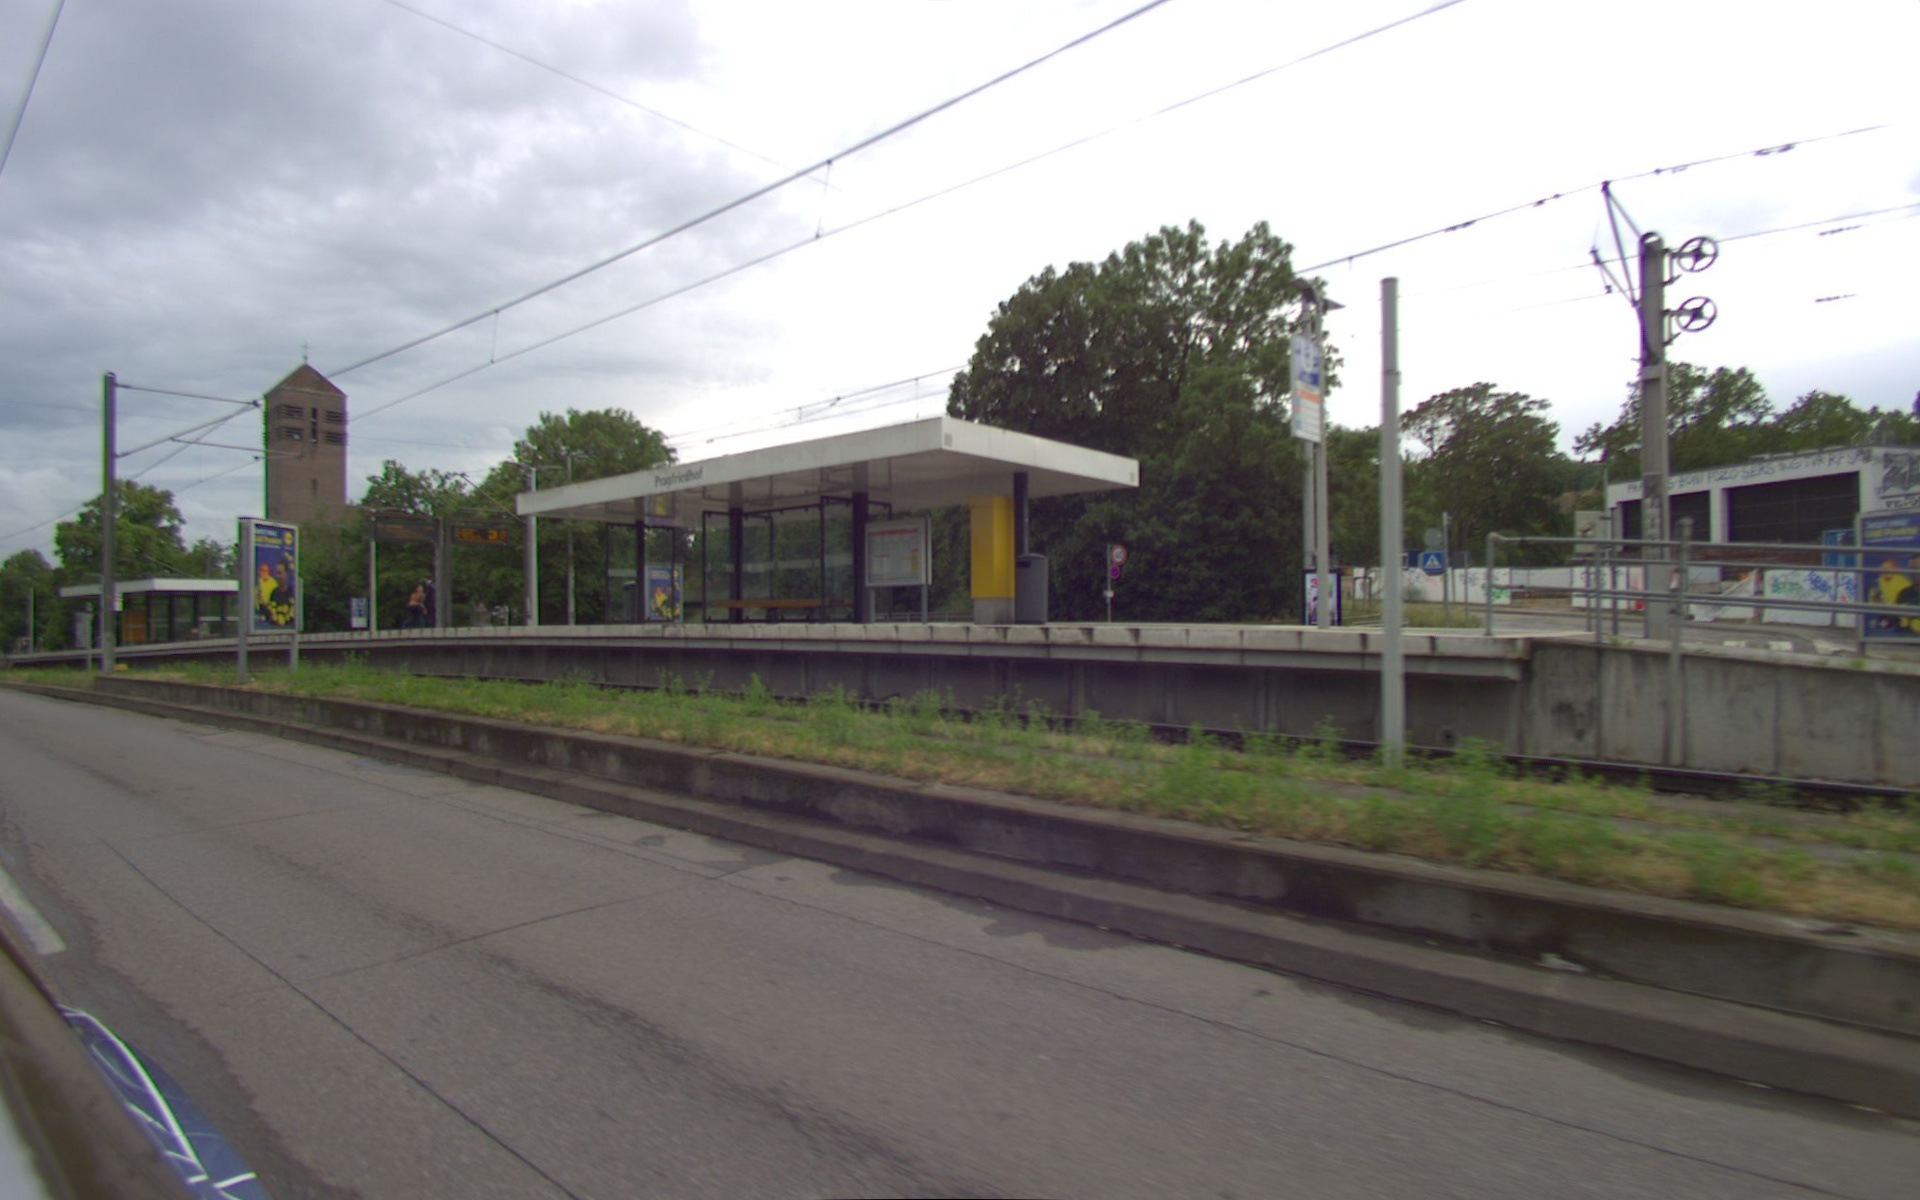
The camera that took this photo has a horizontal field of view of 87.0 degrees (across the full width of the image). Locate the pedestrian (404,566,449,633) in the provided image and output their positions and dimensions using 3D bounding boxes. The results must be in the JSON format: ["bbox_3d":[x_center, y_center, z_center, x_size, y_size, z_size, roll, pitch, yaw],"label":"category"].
[{"bbox_3d":[-16.085,-0.007,30.542,0.835,1.924,0.741,-5,-2,19],"label":"pedestrian"}]

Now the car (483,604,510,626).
[{"bbox_3d":[-44.722,1.429,97.687,1.966,2.029,4.013,-2,1,-20],"label":"car"}]

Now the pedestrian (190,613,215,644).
[{"bbox_3d":[-31.315,1.176,41.832,0.619,1.235,0.703,-3,-2,40],"label":"pedestrian"}]

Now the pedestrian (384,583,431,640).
[{"bbox_3d":[-16.910,0.359,30.985,0.911,1.659,0.792,-5,-1,19],"label":"pedestrian"}]
